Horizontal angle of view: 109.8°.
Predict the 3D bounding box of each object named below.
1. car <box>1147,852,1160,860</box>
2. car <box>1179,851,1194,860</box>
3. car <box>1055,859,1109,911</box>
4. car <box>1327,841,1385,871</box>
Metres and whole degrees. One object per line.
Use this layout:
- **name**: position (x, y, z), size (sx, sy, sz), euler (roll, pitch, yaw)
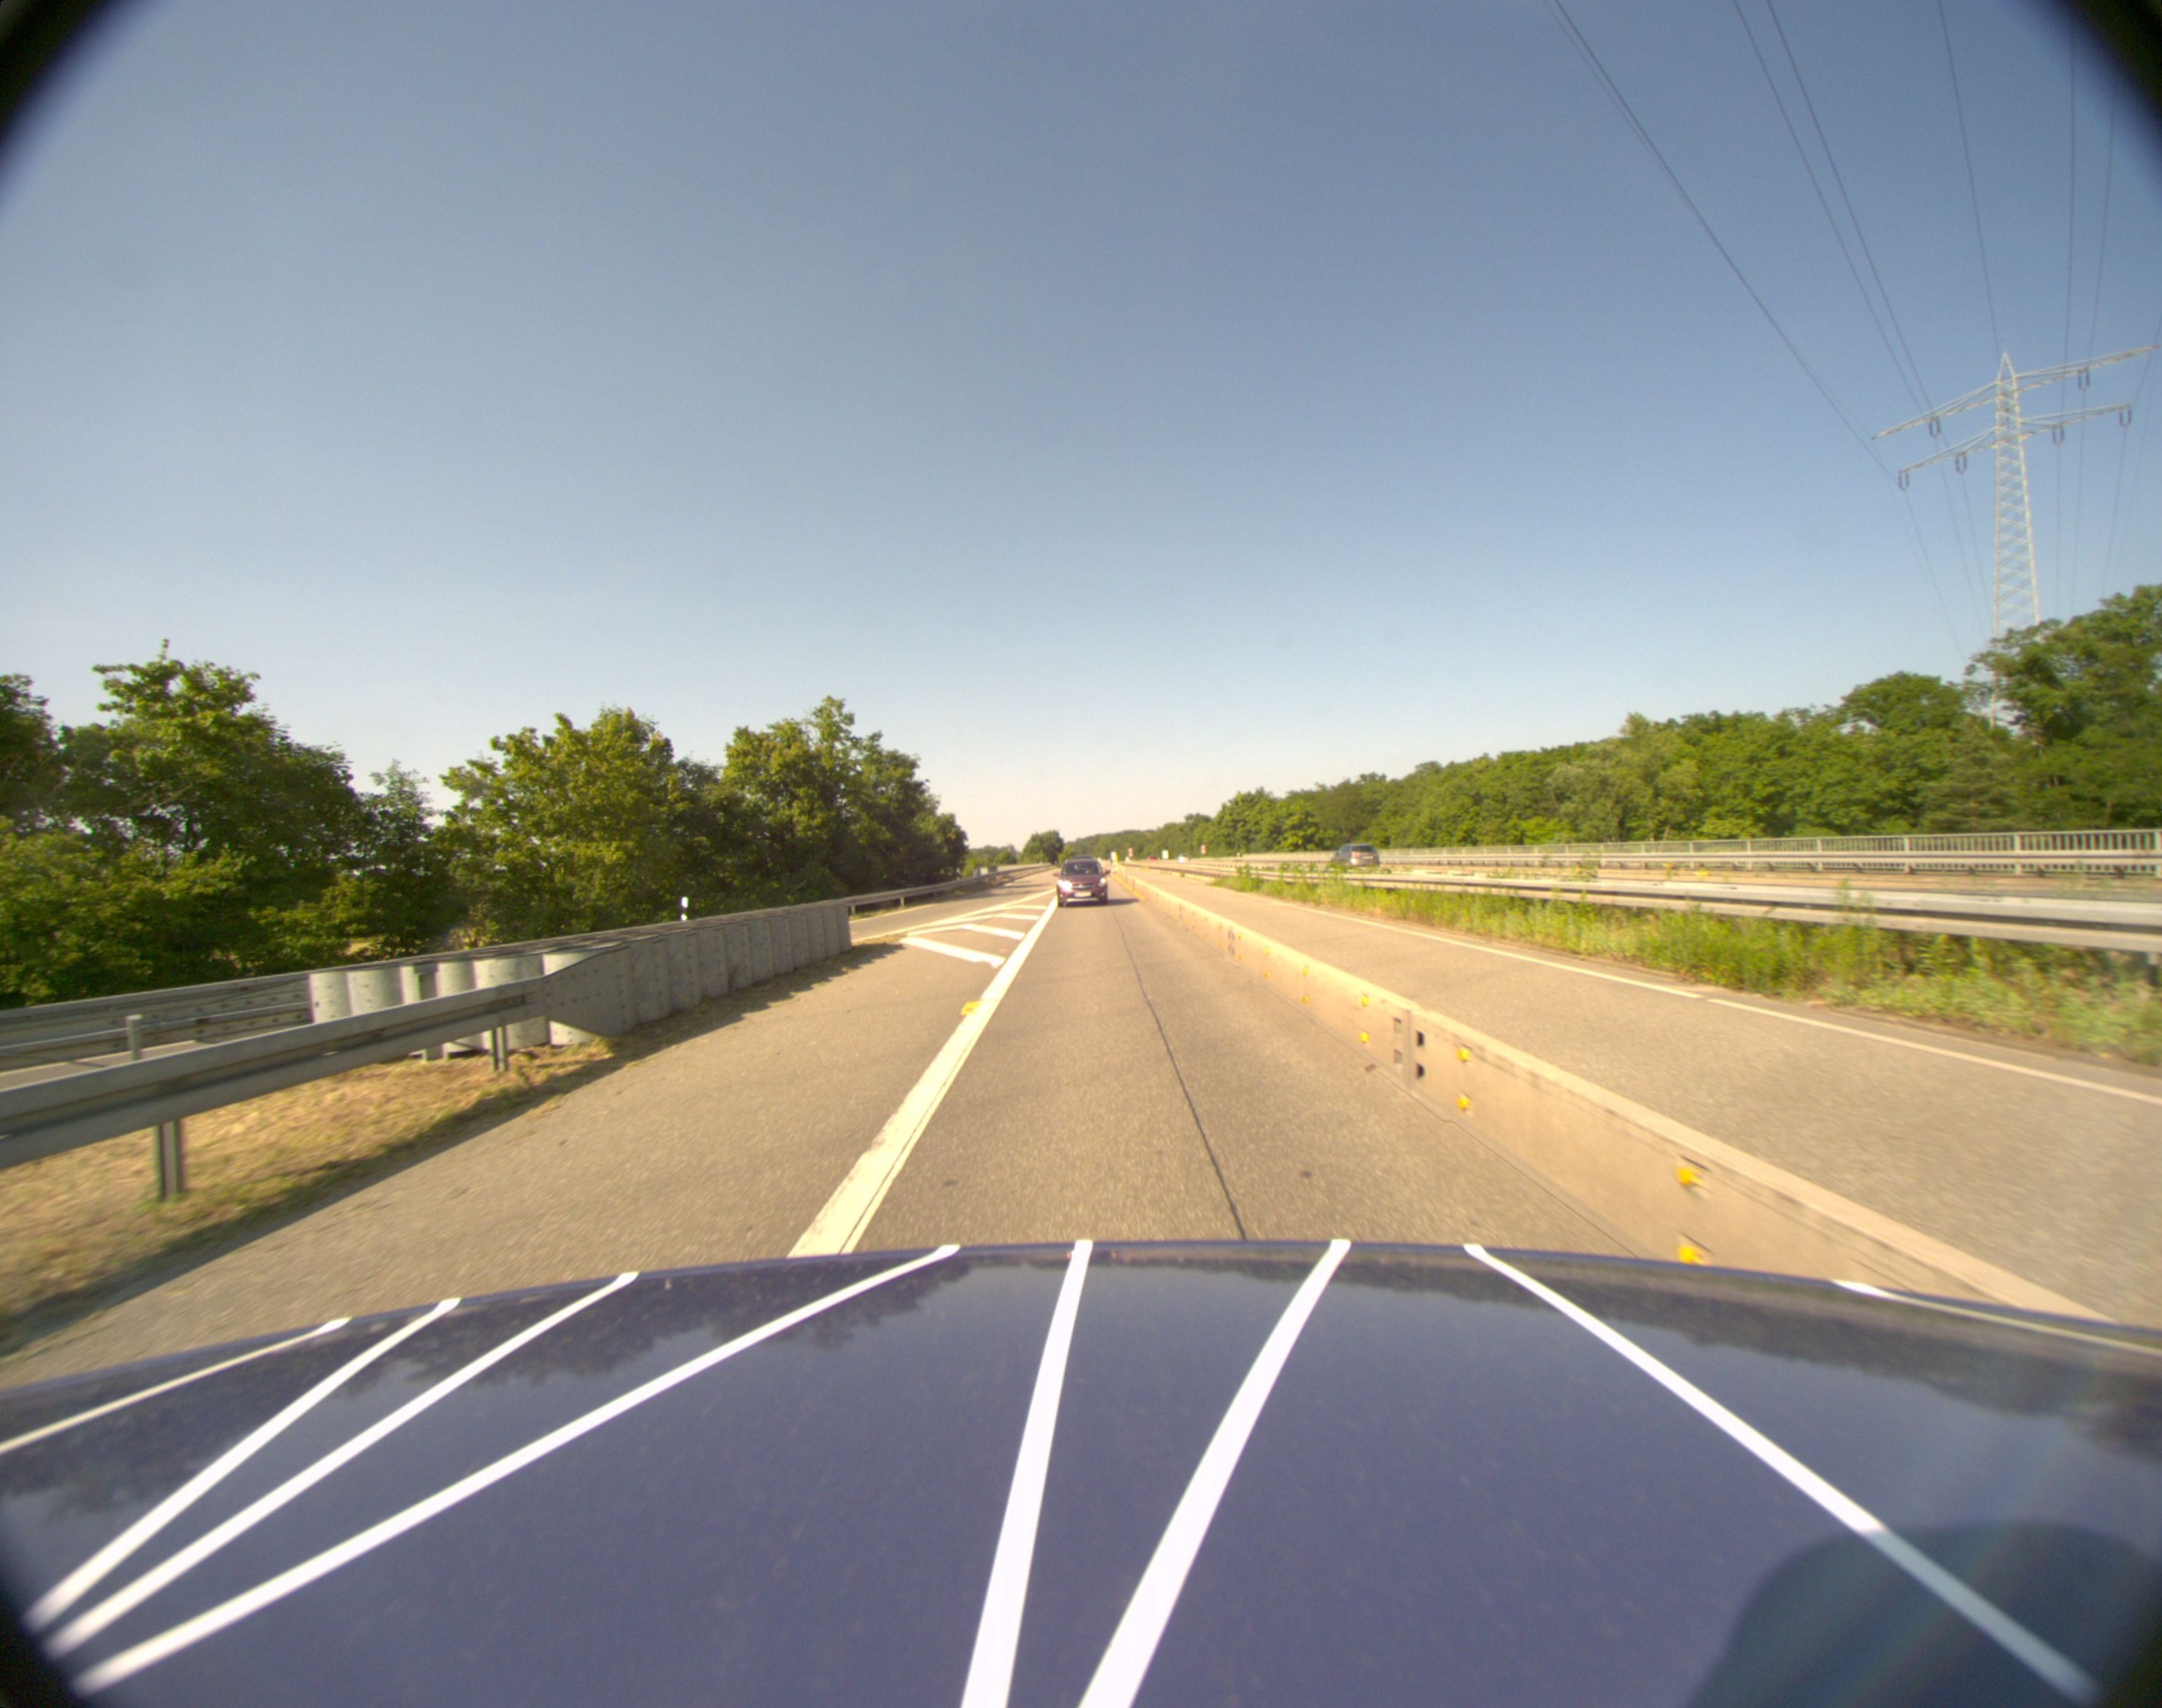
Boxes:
- **car**: position (12.243, 0.332, 127.956), size (1.718, 1.388, 4.221), euler (-2, 0, 0)
- **car**: position (16.470, 0.287, 118.589), size (1.781, 1.385, 4.126), euler (-1, 0, 0)
- **car**: position (0.106, 0.972, 25.499), size (1.587, 1.491, 4.416), euler (-2, 0, 2)
- **car**: position (15.724, 0.103, 43.686), size (1.767, 1.574, 4.422), euler (-1, 0, 1)
